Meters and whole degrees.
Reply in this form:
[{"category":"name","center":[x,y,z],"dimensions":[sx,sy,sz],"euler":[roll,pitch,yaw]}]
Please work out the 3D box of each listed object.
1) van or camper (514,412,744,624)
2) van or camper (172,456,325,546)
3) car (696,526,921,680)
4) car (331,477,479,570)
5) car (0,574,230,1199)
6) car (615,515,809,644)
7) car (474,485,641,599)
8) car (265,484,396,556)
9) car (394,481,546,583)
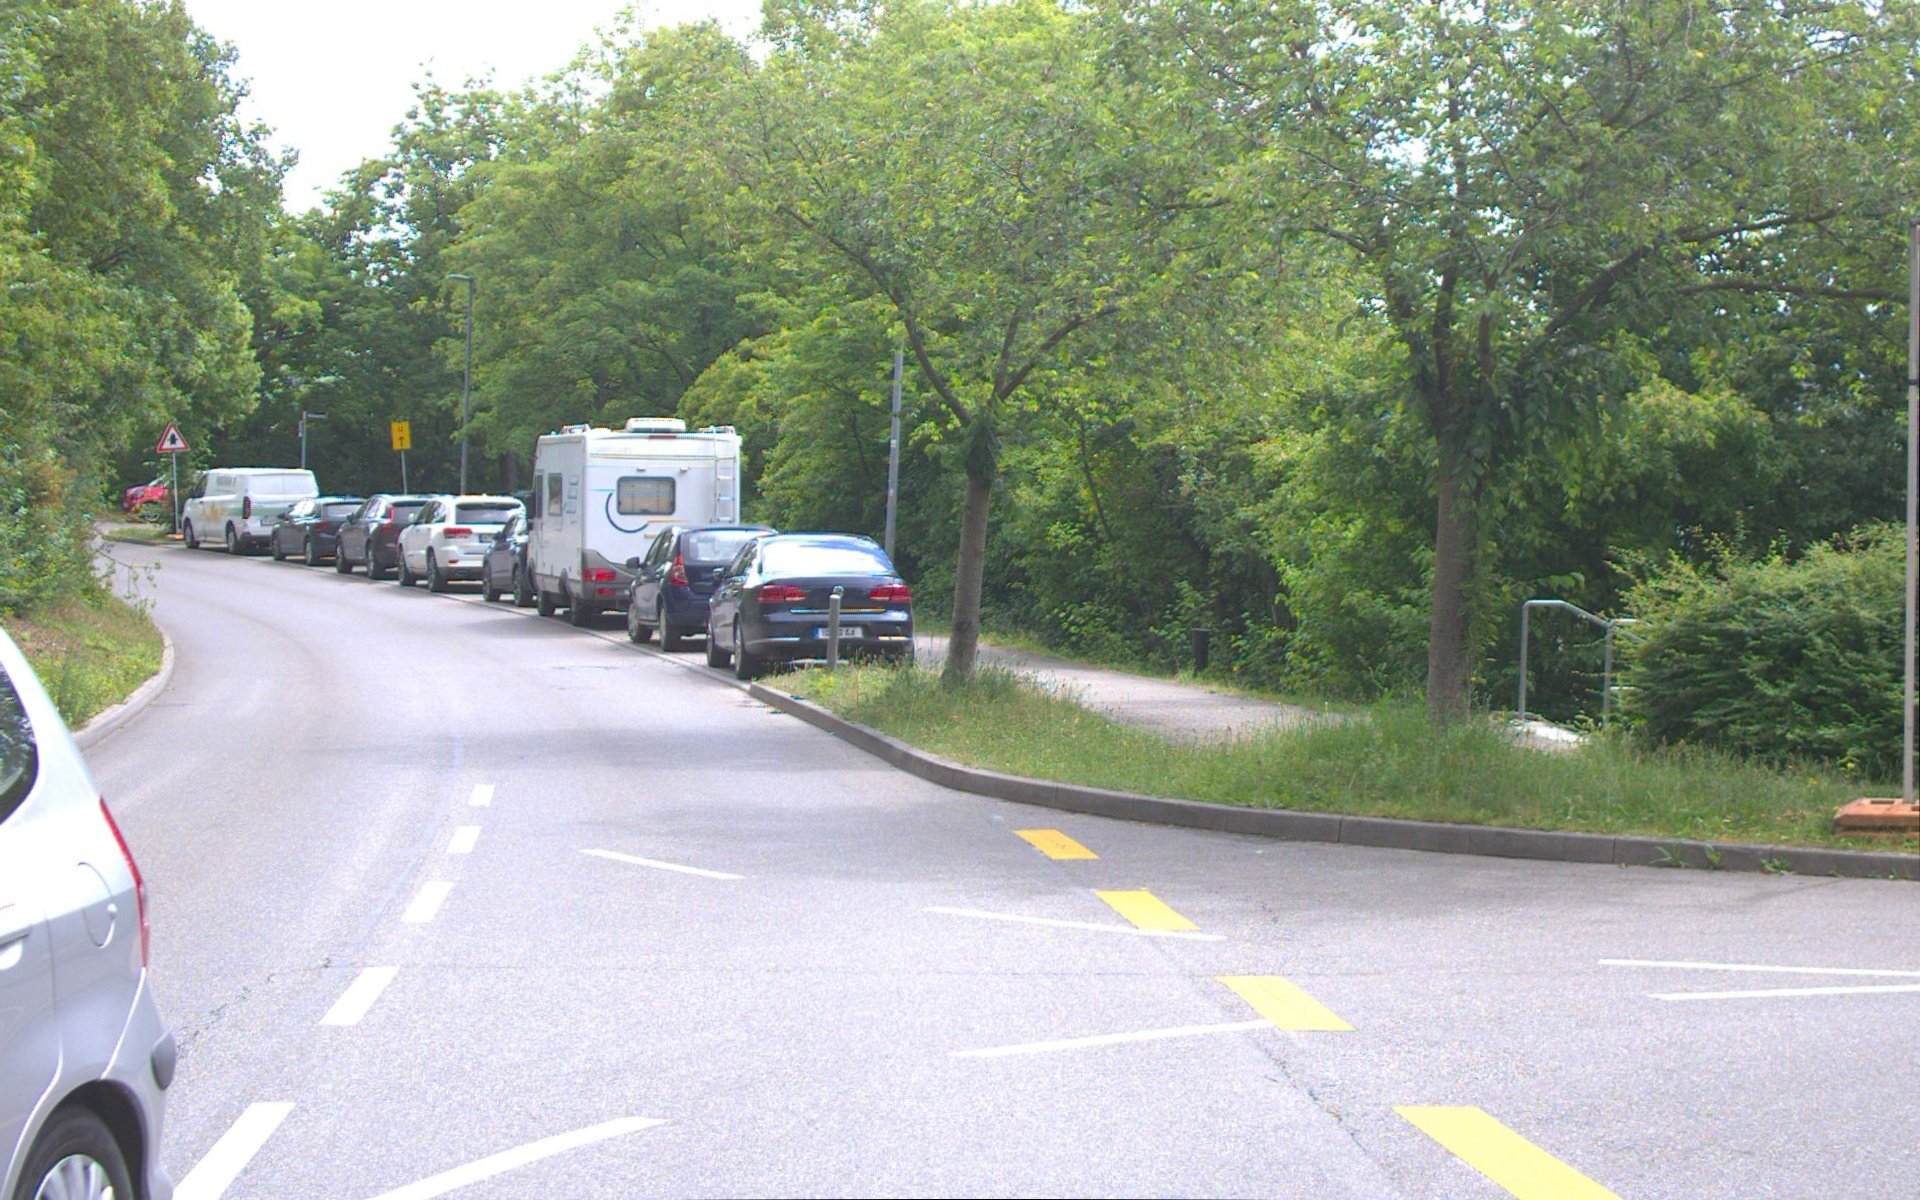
[{"category":"van or camper","center":[-4.933,-1.229,50.267],"dimensions":[2.332,2.859,6.153],"euler":[1,2,-15]},{"category":"van or camper","center":[-16.590,-2.334,79.978],"dimensions":[1.993,1.913,5.267],"euler":[-2,4,-29]},{"category":"car","center":[-1.641,-0.019,35.779],"dimensions":[1.775,1.429,4.335],"euler":[0,2,-10]},{"category":"car","center":[-11.095,-1.557,68.468],"dimensions":[1.993,1.620,4.280],"euler":[-3,4,-21]},{"category":"car","center":[-2.545,0.679,4.526],"dimensions":[1.842,1.451,3.651],"euler":[1,1,10]},{"category":"car","center":[-3.139,-0.276,42.885],"dimensions":[1.728,1.514,3.890],"euler":[-1,1,-15]},{"category":"car","center":[-6.604,-0.984,56.141],"dimensions":[1.710,1.585,4.002],"euler":[-7,4,-19]},{"category":"car","center":[-13.692,-1.758,74.649],"dimensions":[1.797,1.459,4.001],"euler":[0,3,-26]},{"category":"car","center":[-8.998,-1.265,62.872],"dimensions":[1.871,1.683,4.581],"euler":[1,2,-19]}]
